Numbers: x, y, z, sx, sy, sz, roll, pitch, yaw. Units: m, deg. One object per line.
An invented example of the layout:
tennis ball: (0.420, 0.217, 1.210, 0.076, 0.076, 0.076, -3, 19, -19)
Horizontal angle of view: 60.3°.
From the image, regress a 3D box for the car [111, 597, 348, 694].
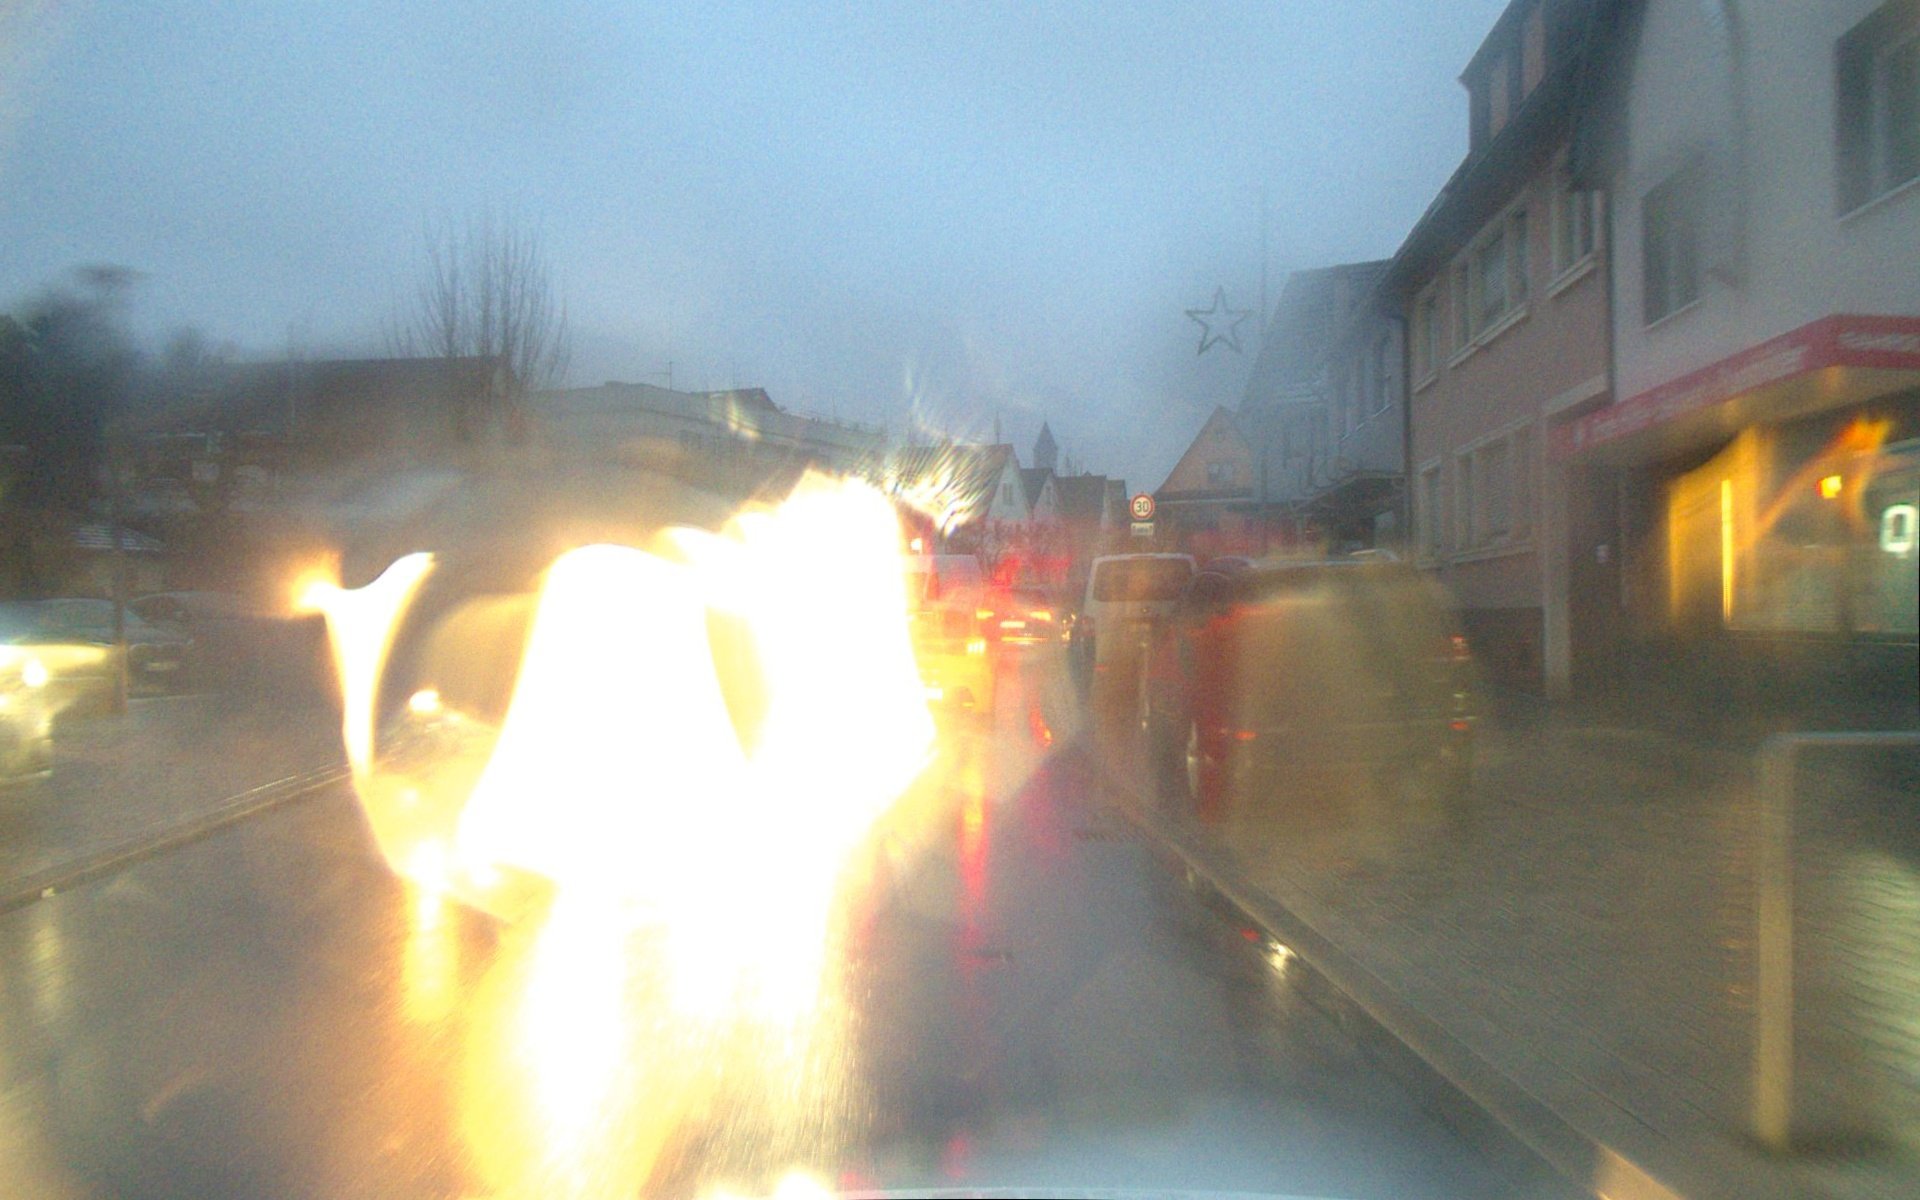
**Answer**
car: (-12.221, 0.745, 27.594, 3.989, 1.485, 1.752, -1, 0, 34)

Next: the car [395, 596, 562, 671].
car: (-11.274, 0.794, 38.618, 4.035, 1.610, 1.713, -3, -1, 39)

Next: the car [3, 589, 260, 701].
car: (-12.342, 0.661, 24.576, 3.853, 1.484, 1.757, -2, 1, 35)

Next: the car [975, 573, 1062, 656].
car: (1.291, 0.290, 35.708, 1.760, 1.691, 4.002, 0, 0, 3)

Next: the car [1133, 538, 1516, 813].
car: (2.556, 0.450, 12.760, 1.934, 1.690, 4.460, -2, 1, 0)

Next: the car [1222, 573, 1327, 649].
car: (7.100, 0.221, 37.668, 1.698, 1.588, 3.664, -2, 0, 1)

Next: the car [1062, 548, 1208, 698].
car: (2.535, 0.276, 25.018, 1.932, 1.994, 4.854, -2, 1, 3)

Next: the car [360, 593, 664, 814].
car: (-3.653, 0.757, 14.150, 1.587, 1.506, 3.838, -2, 1, -2)

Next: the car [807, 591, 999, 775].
car: (-0.633, 0.855, 19.575, 1.953, 1.827, 4.647, -2, 1, -1)

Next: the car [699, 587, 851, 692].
car: (-3.047, 0.597, 28.123, 1.788, 1.545, 4.550, -2, 1, 3)

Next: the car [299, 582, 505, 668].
car: (-11.872, 0.541, 35.058, 4.567, 1.683, 1.979, -2, -1, 39)

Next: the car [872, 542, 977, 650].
car: (-0.825, -0.141, 42.763, 2.149, 2.534, 6.146, -1, 1, 3)

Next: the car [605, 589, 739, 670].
car: (-6.022, 0.576, 35.113, 1.865, 1.560, 4.258, -1, 1, 3)

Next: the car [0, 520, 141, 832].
car: (-8.782, 0.475, 11.385, 5.637, 1.980, 1.993, 0, 1, 13)
